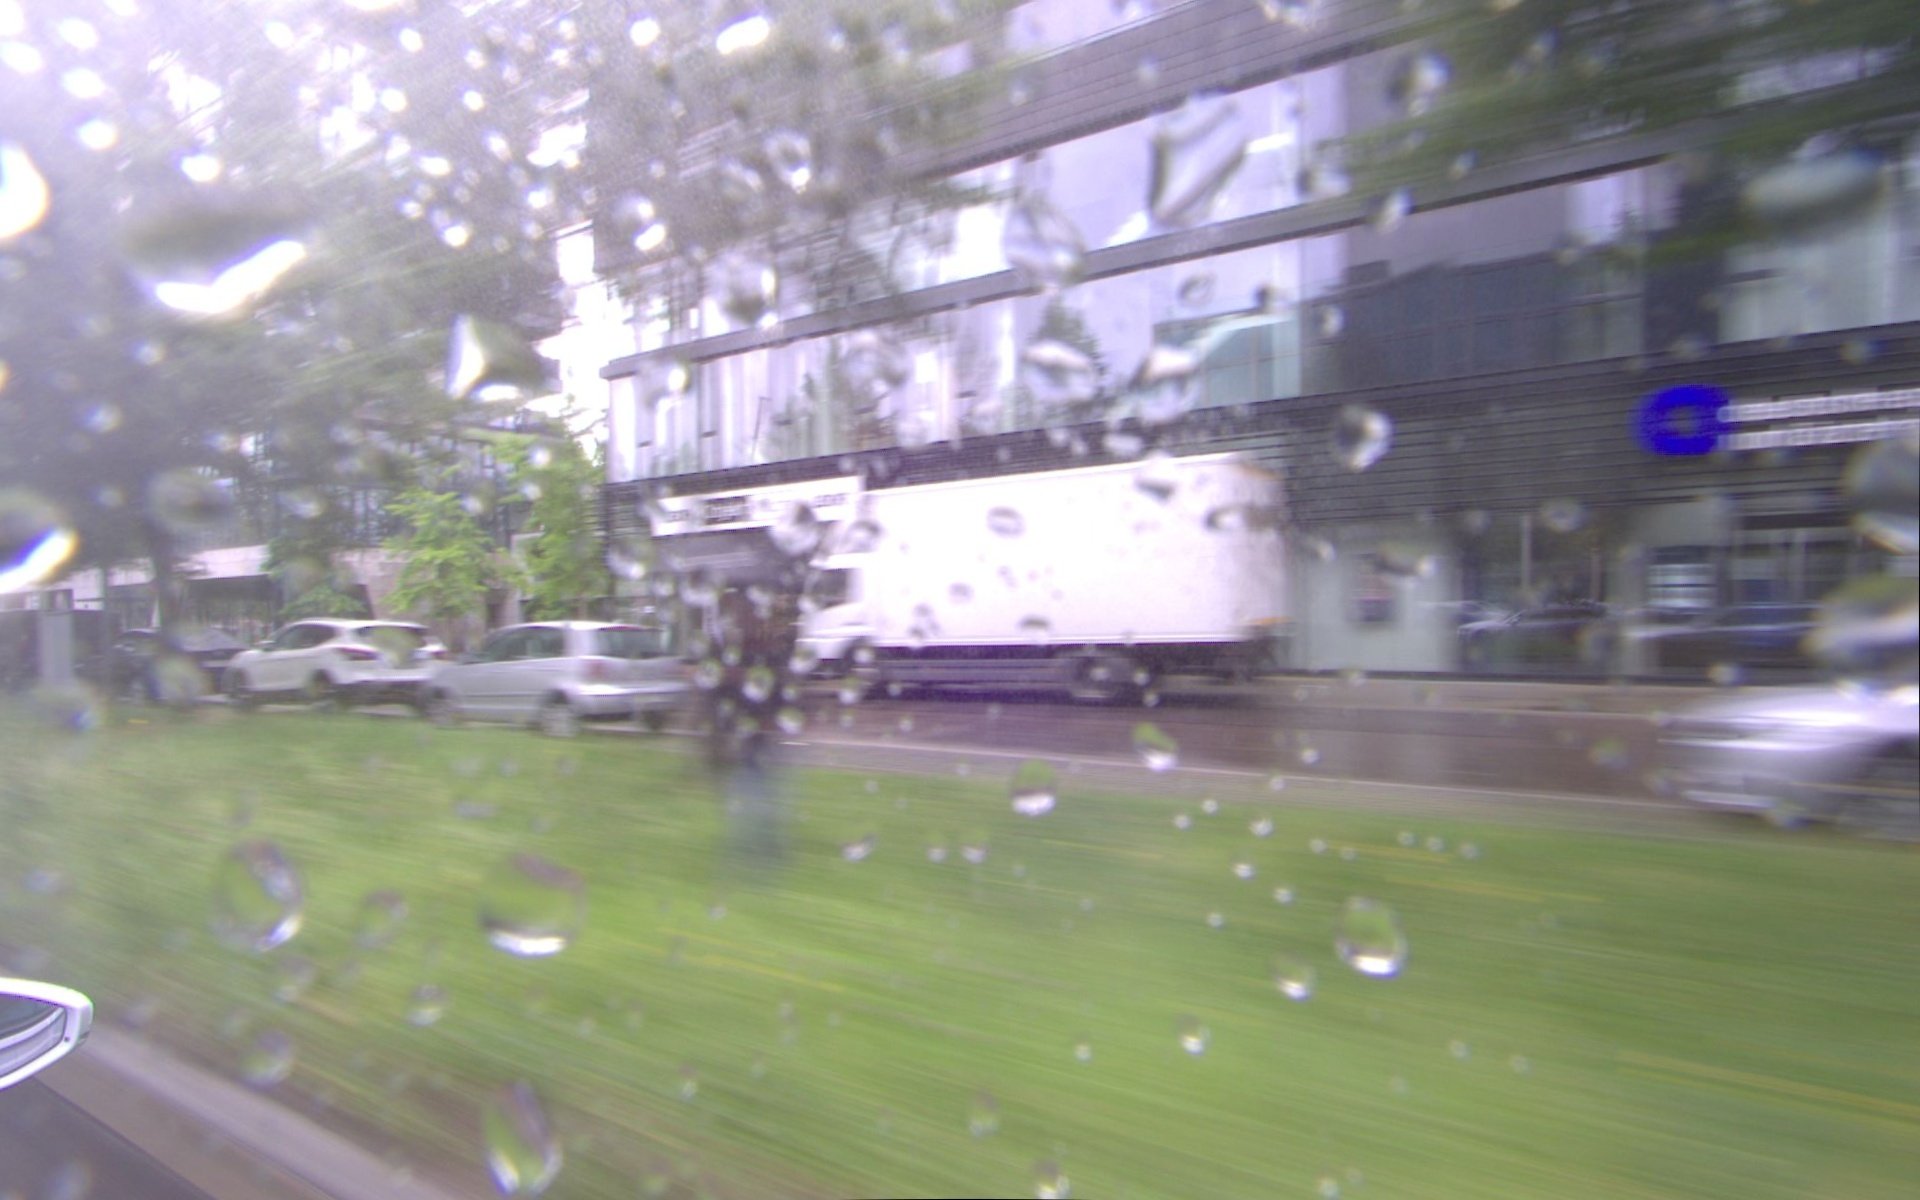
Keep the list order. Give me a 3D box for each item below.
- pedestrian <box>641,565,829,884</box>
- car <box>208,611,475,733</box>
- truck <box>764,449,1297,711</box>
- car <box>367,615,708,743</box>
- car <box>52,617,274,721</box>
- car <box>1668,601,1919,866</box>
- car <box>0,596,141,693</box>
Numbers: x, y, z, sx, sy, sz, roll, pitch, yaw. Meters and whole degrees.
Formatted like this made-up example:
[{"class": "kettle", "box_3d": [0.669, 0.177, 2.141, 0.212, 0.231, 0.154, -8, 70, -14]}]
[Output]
[{"class": "pedestrian", "box_3d": [-1.159, 0.599, 5.197, 0.689, 1.513, 0.641, -1, 0, 30]}, {"class": "car", "box_3d": [-10.485, 1.092, 16.899, 4.654, 1.691, 1.990, 1, 1, 32]}, {"class": "truck", "box_3d": [0.977, -0.166, 16.749, 8.420, 3.486, 3.021, -1, -1, 30]}, {"class": "car", "box_3d": [-5.767, 0.991, 13.530, 4.653, 1.469, 1.769, -1, -4, 30]}, {"class": "car", "box_3d": [-15.819, 1.249, 19.809, 4.886, 1.691, 1.989, 1, 1, 33]}, {"class": "car", "box_3d": [7.236, 0.712, 5.576, 5.158, 1.463, 1.991, -1, -1, 30]}, {"class": "car", "box_3d": [-21.391, 0.948, 23.459, 4.956, 1.979, 1.989, 1, 1, 33]}]
